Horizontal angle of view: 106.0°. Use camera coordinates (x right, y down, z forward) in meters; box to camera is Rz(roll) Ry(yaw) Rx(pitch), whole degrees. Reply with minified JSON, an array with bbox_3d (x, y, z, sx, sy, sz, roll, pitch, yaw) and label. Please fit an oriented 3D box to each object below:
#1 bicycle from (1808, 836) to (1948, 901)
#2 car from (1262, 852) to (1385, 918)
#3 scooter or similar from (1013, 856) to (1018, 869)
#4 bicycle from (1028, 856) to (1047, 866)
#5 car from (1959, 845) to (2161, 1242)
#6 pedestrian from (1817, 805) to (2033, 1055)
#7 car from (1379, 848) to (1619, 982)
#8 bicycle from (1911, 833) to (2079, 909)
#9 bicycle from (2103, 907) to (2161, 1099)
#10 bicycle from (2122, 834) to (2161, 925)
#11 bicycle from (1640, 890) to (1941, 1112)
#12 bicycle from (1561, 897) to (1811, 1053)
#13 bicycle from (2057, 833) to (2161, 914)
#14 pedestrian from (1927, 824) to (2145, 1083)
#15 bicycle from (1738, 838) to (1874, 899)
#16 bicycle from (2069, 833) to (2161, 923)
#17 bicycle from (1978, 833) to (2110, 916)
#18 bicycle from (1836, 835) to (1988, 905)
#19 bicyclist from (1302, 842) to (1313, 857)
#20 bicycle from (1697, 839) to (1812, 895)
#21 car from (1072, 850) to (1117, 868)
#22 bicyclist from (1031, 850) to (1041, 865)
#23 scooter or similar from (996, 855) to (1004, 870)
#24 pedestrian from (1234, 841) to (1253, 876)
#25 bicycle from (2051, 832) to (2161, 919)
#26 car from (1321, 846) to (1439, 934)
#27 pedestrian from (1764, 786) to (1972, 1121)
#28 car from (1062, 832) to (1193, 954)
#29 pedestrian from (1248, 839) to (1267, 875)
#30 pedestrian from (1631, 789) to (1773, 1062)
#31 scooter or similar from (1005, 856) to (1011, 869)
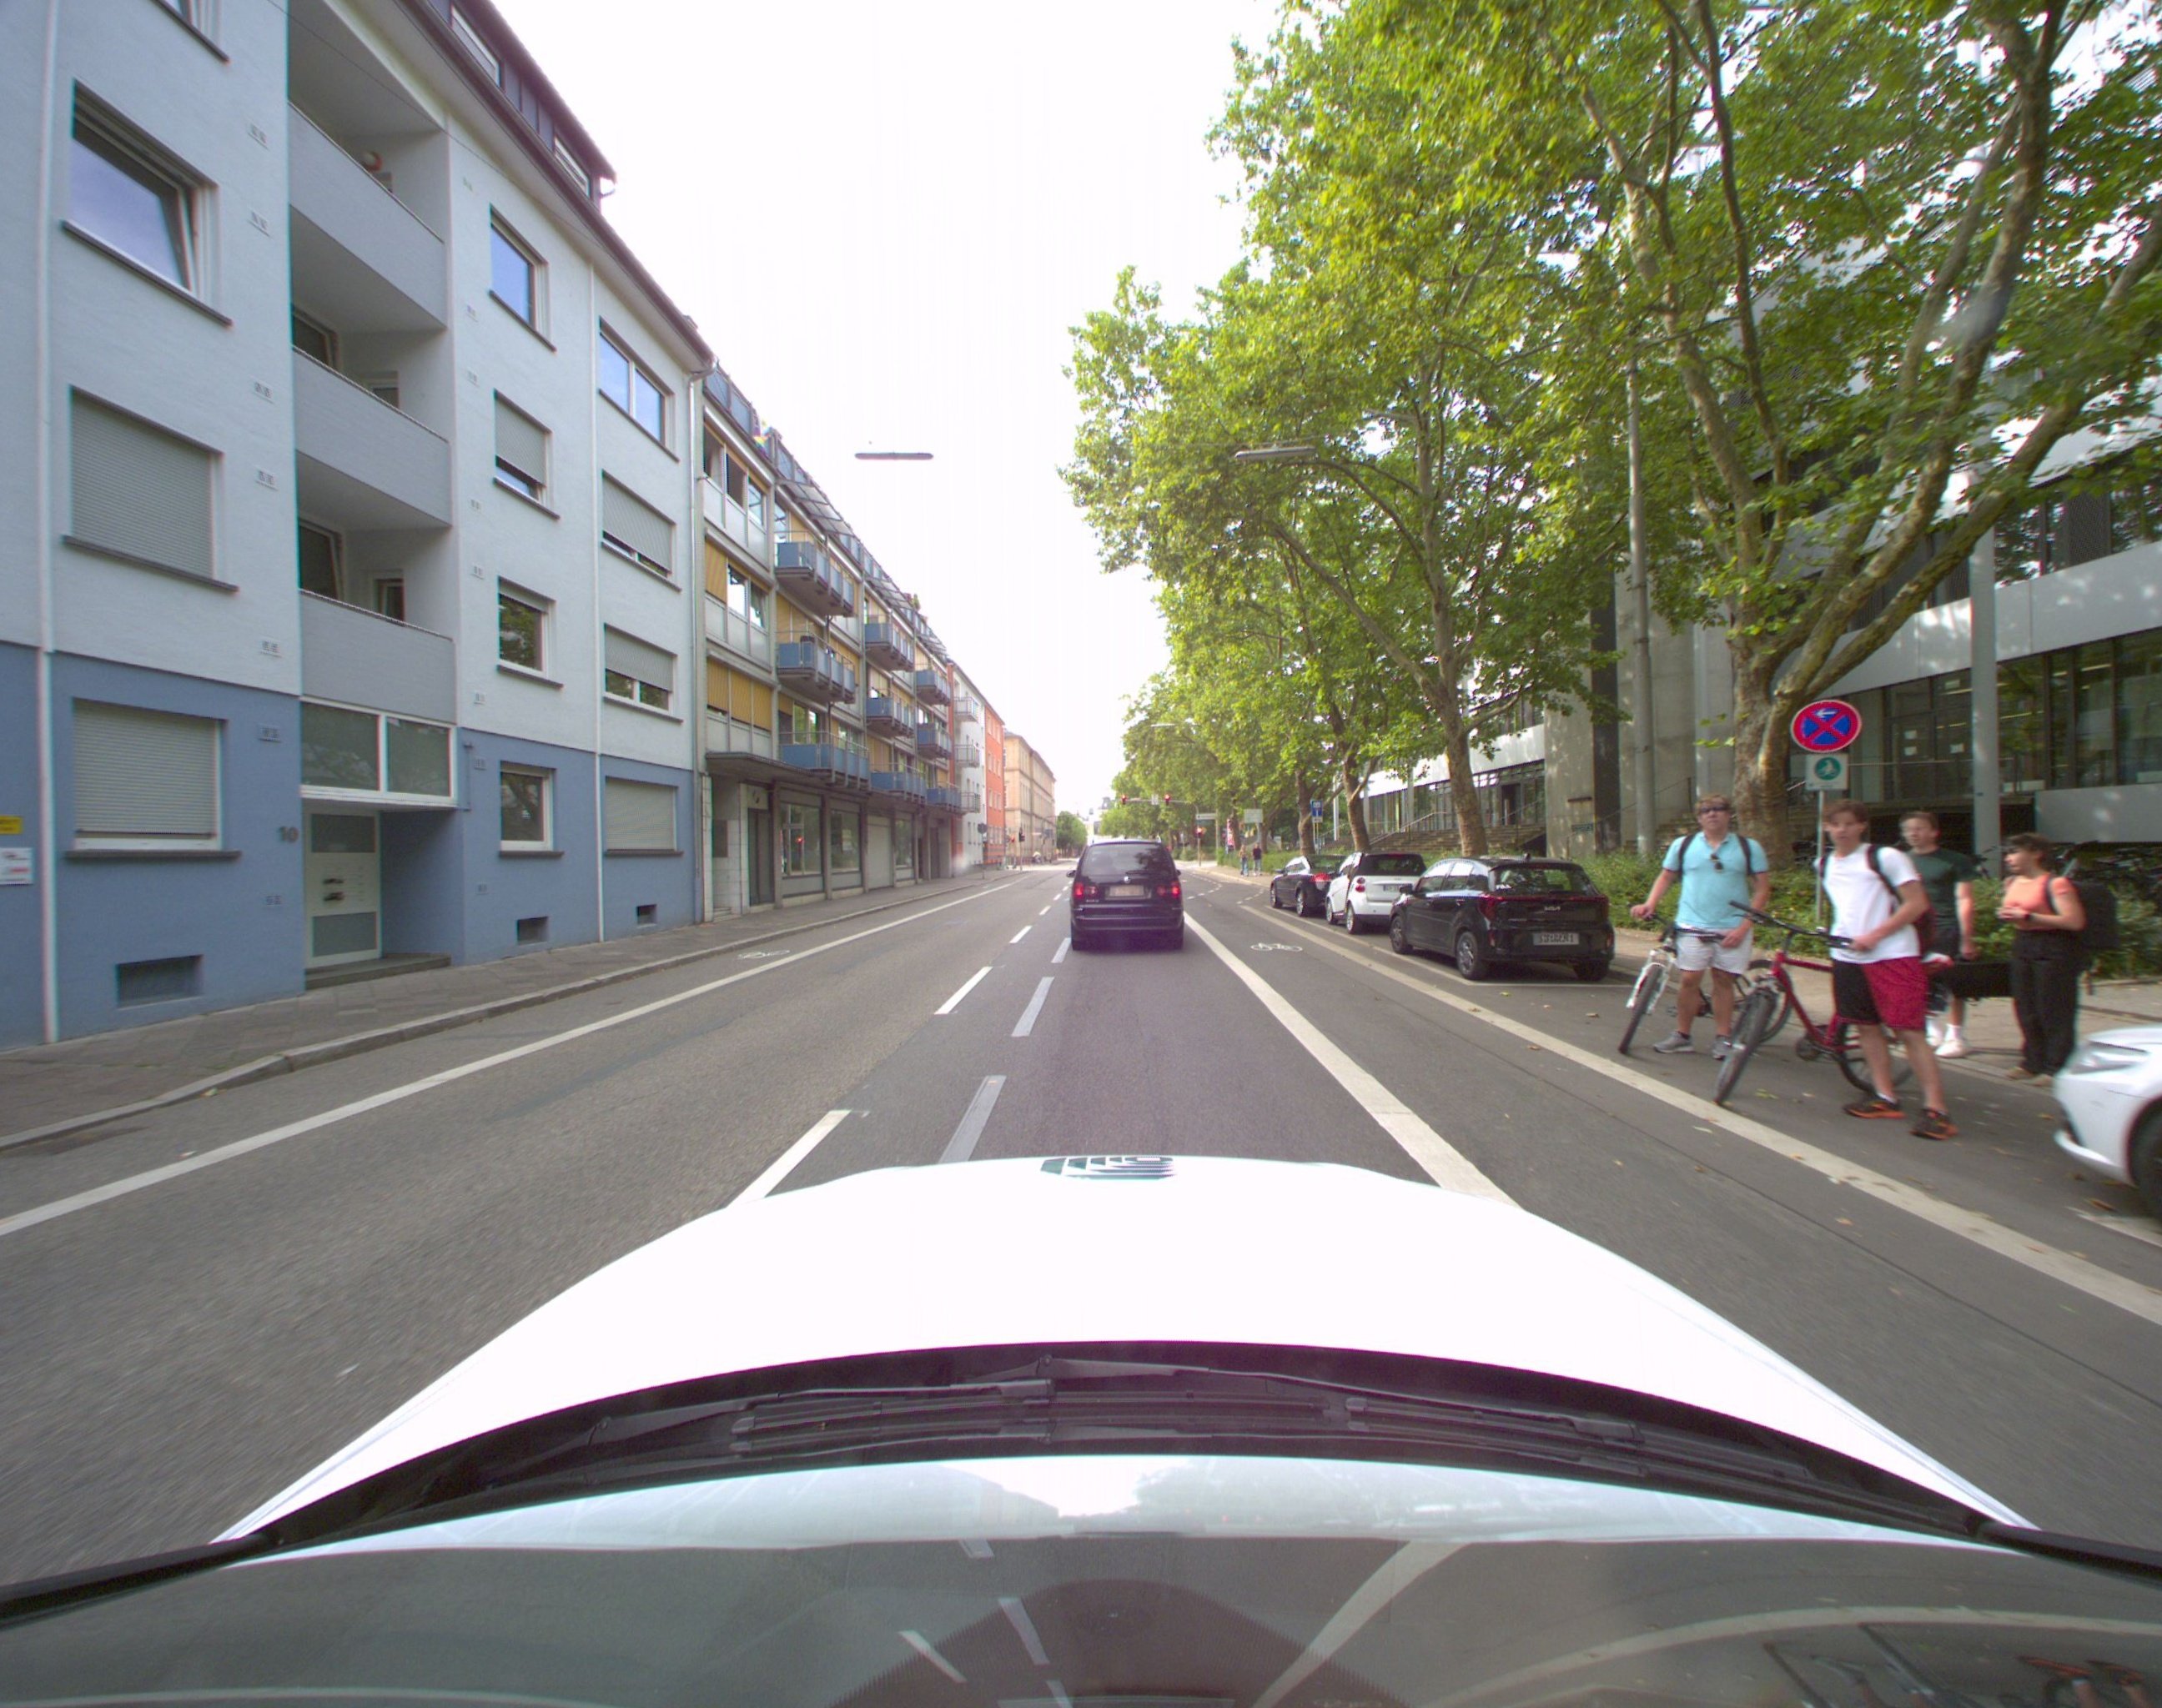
[{"bbox_3d":[14.931,0.271,15.294,1.907,1.117,0.674,-2,0,2],"label":"bicycle"},{"bbox_3d":[5.787,0.681,19.968,1.692,1.425,4.421,0,0,0],"label":"car"},{"bbox_3d":[-5.650,0.727,70.308,0.377,1.144,1.141,-1,-1,-1],"label":"scooter or similar"},{"bbox_3d":[-4.462,0.742,83.157,1.925,1.028,0.581,0,0,-11],"label":"bicycle"},{"bbox_3d":[4.972,0.747,1.570,1.675,1.516,4.544,1,0,0],"label":"car"},{"bbox_3d":[6.495,0.553,6.319,0.867,1.816,0.780,0,0,2],"label":"pedestrian"},{"bbox_3d":[5.396,0.685,11.050,1.522,1.502,3.662,0,0,2],"label":"car"},{"bbox_3d":[14.759,0.267,13.186,1.907,1.117,0.674,-2,0,2],"label":"bicycle"},{"bbox_3d":[7.382,0.907,5.086,1.767,1.132,0.461,0,0,-10],"label":"bicycle"},{"bbox_3d":[14.206,0.296,10.328,1.537,1.117,0.468,-2,0,-6],"label":"bicycle"},{"bbox_3d":[4.490,0.863,5.161,1.792,1.217,0.550,0,0,-16],"label":"bicycle"},{"bbox_3d":[4.778,0.920,6.460,1.734,1.105,0.550,0,0,-9],"label":"bicycle"},{"bbox_3d":[15.294,0.267,11.812,0.490,1.117,1.436,-2,0,-3],"label":"bicycle"},{"bbox_3d":[6.468,0.635,5.554,0.718,1.658,0.655,0,0,2],"label":"pedestrian"},{"bbox_3d":[14.518,0.276,16.349,2.071,1.117,0.674,-2,0,1],"label":"bicycle"},{"bbox_3d":[13.996,0.300,10.778,1.376,1.117,0.468,-2,0,-6],"label":"bicycle"},{"bbox_3d":[14.138,0.284,11.963,1.698,1.117,0.619,-2,0,-17],"label":"bicycle"},{"bbox_3d":[14.542,0.271,14.281,1.907,1.117,0.674,-2,0,2],"label":"bicycle"},{"bbox_3d":[23.579,-0.482,84.748,0.912,1.493,0.626,-1,0,-2],"label":"bicyclist"},{"bbox_3d":[14.599,0.279,17.684,1.907,1.117,0.674,-2,0,2],"label":"bicycle"},{"bbox_3d":[1.261,0.420,73.443,1.740,1.427,4.124,-3,0,43],"label":"car"},{"bbox_3d":[-4.603,0.358,83.127,0.914,1.466,0.568,0,0,-11],"label":"bicyclist"},{"bbox_3d":[-6.343,0.682,63.600,0.376,1.184,1.390,-1,-1,2],"label":"scooter or similar"},{"bbox_3d":[8.465,0.242,42.429,0.708,1.783,1.034,-3,-1,1],"label":"pedestrian"},{"bbox_3d":[14.403,0.285,11.377,1.379,1.117,0.509,-2,0,-13],"label":"bicycle"},{"bbox_3d":[5.702,0.636,15.812,1.528,1.543,2.603,0,0,5],"label":"car"},{"bbox_3d":[4.706,0.546,4.910,0.520,1.845,0.741,0,0,-13],"label":"pedestrian"},{"bbox_3d":[0.741,0.547,14.132,1.867,1.745,4.575,-1,0,2],"label":"car"},{"bbox_3d":[9.178,0.165,42.325,0.712,1.800,1.034,-3,-1,1],"label":"pedestrian"},{"bbox_3d":[4.689,0.504,6.189,0.474,1.934,0.742,0,0,-9],"label":"pedestrian"},{"bbox_3d":[-6.257,0.728,69.819,0.377,1.147,1.141,-1,-1,-1],"label":"scooter or similar"}]
